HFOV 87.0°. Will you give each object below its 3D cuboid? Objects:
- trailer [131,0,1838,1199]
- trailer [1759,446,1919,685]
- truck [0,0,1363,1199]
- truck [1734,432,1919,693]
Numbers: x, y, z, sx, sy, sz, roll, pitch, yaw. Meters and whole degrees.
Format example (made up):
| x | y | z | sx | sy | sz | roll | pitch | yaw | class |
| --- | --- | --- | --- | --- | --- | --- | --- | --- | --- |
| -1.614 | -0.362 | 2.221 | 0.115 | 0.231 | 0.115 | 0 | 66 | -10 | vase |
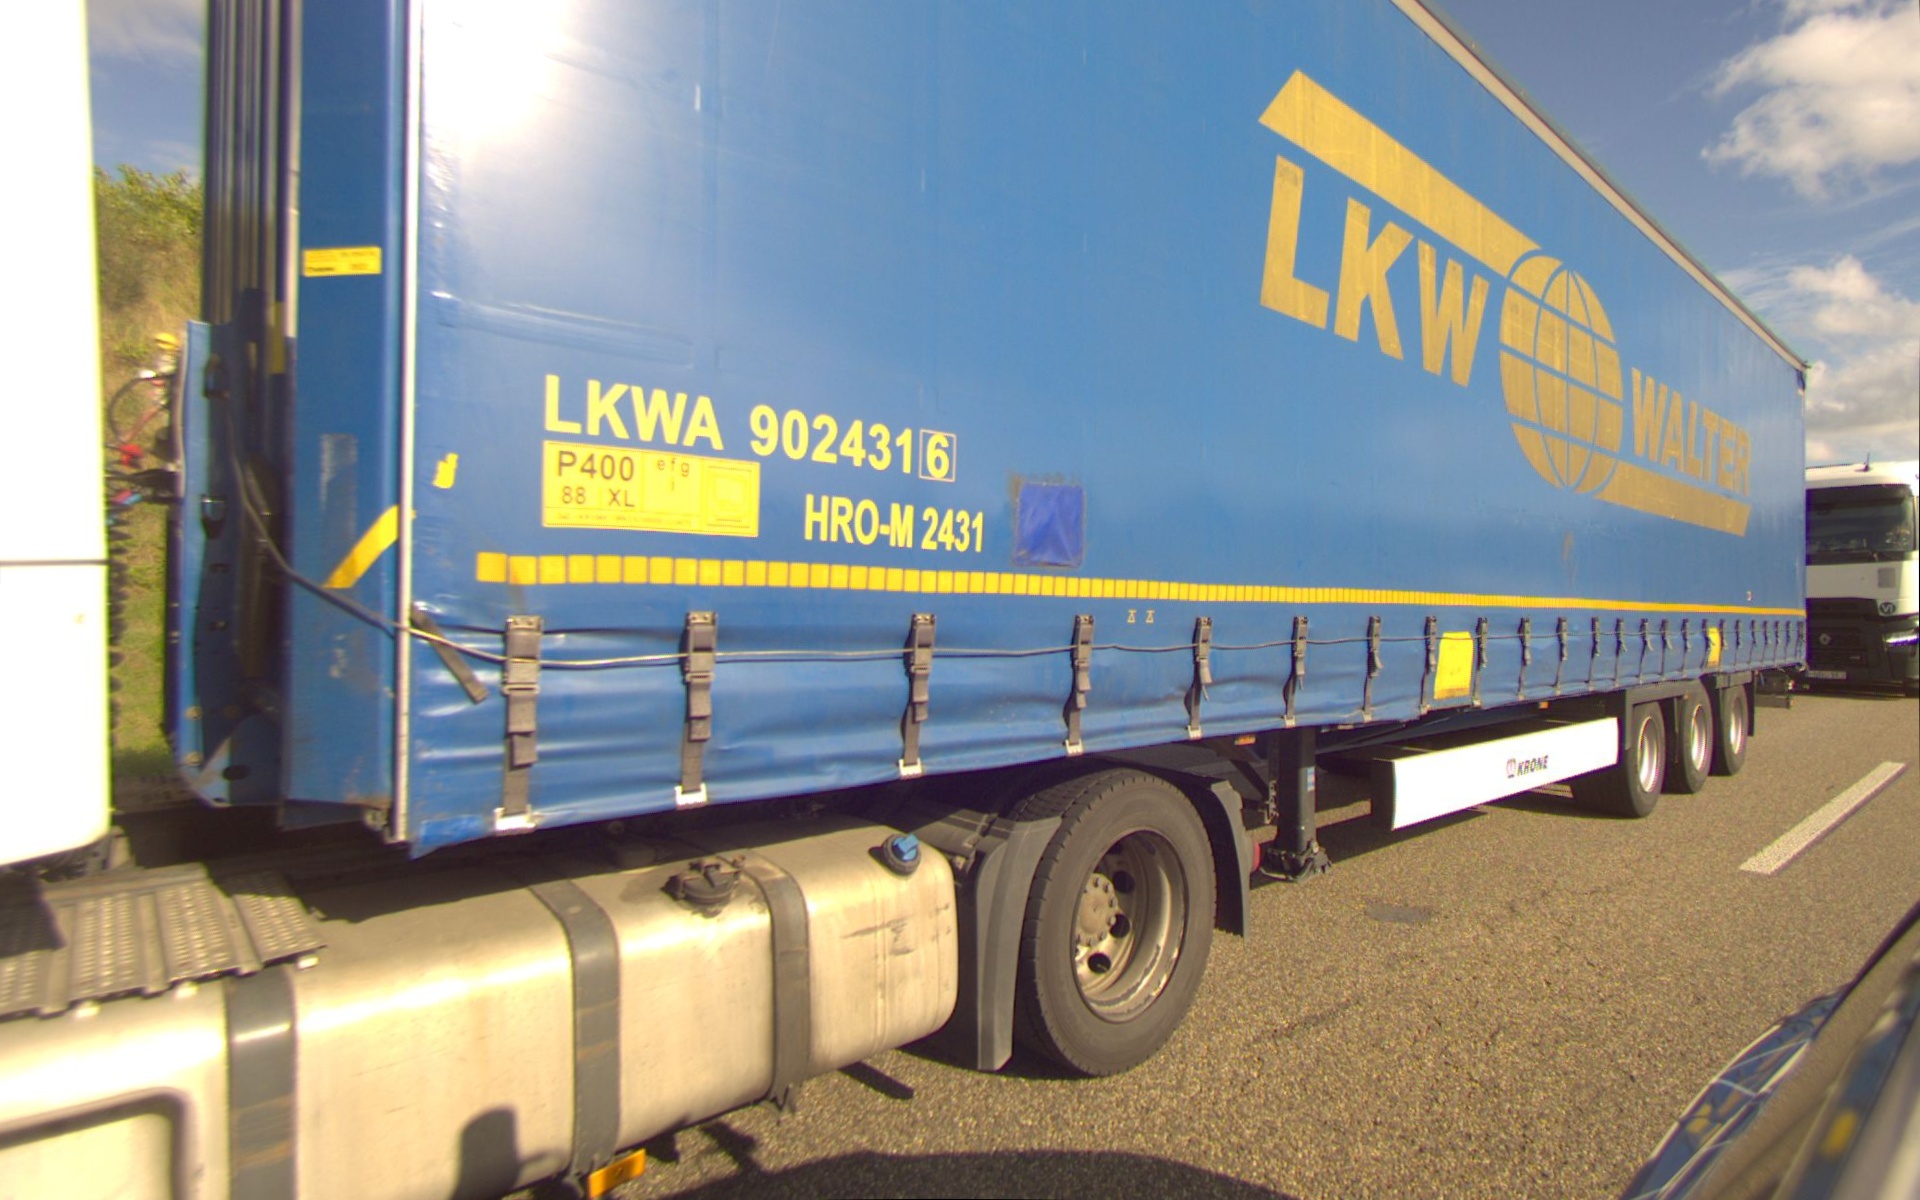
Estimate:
| x | y | z | sx | sy | sz | roll | pitch | yaw | class |
| --- | --- | --- | --- | --- | --- | --- | --- | --- | --- |
| 3.167 | -0.697 | 7.019 | 13.738 | 4.150 | 2.646 | 0 | 0 | -42 | trailer |
| 19.514 | -0.569 | 21.092 | 10.981 | 3.984 | 2.649 | 0 | 0 | -42 | trailer |
| -1.762 | -0.640 | 2.653 | 6.379 | 4.141 | 2.652 | 0 | 0 | -42 | truck |
| 16.563 | -0.575 | 18.443 | 6.822 | 3.975 | 2.653 | 0 | 0 | -42 | truck |
